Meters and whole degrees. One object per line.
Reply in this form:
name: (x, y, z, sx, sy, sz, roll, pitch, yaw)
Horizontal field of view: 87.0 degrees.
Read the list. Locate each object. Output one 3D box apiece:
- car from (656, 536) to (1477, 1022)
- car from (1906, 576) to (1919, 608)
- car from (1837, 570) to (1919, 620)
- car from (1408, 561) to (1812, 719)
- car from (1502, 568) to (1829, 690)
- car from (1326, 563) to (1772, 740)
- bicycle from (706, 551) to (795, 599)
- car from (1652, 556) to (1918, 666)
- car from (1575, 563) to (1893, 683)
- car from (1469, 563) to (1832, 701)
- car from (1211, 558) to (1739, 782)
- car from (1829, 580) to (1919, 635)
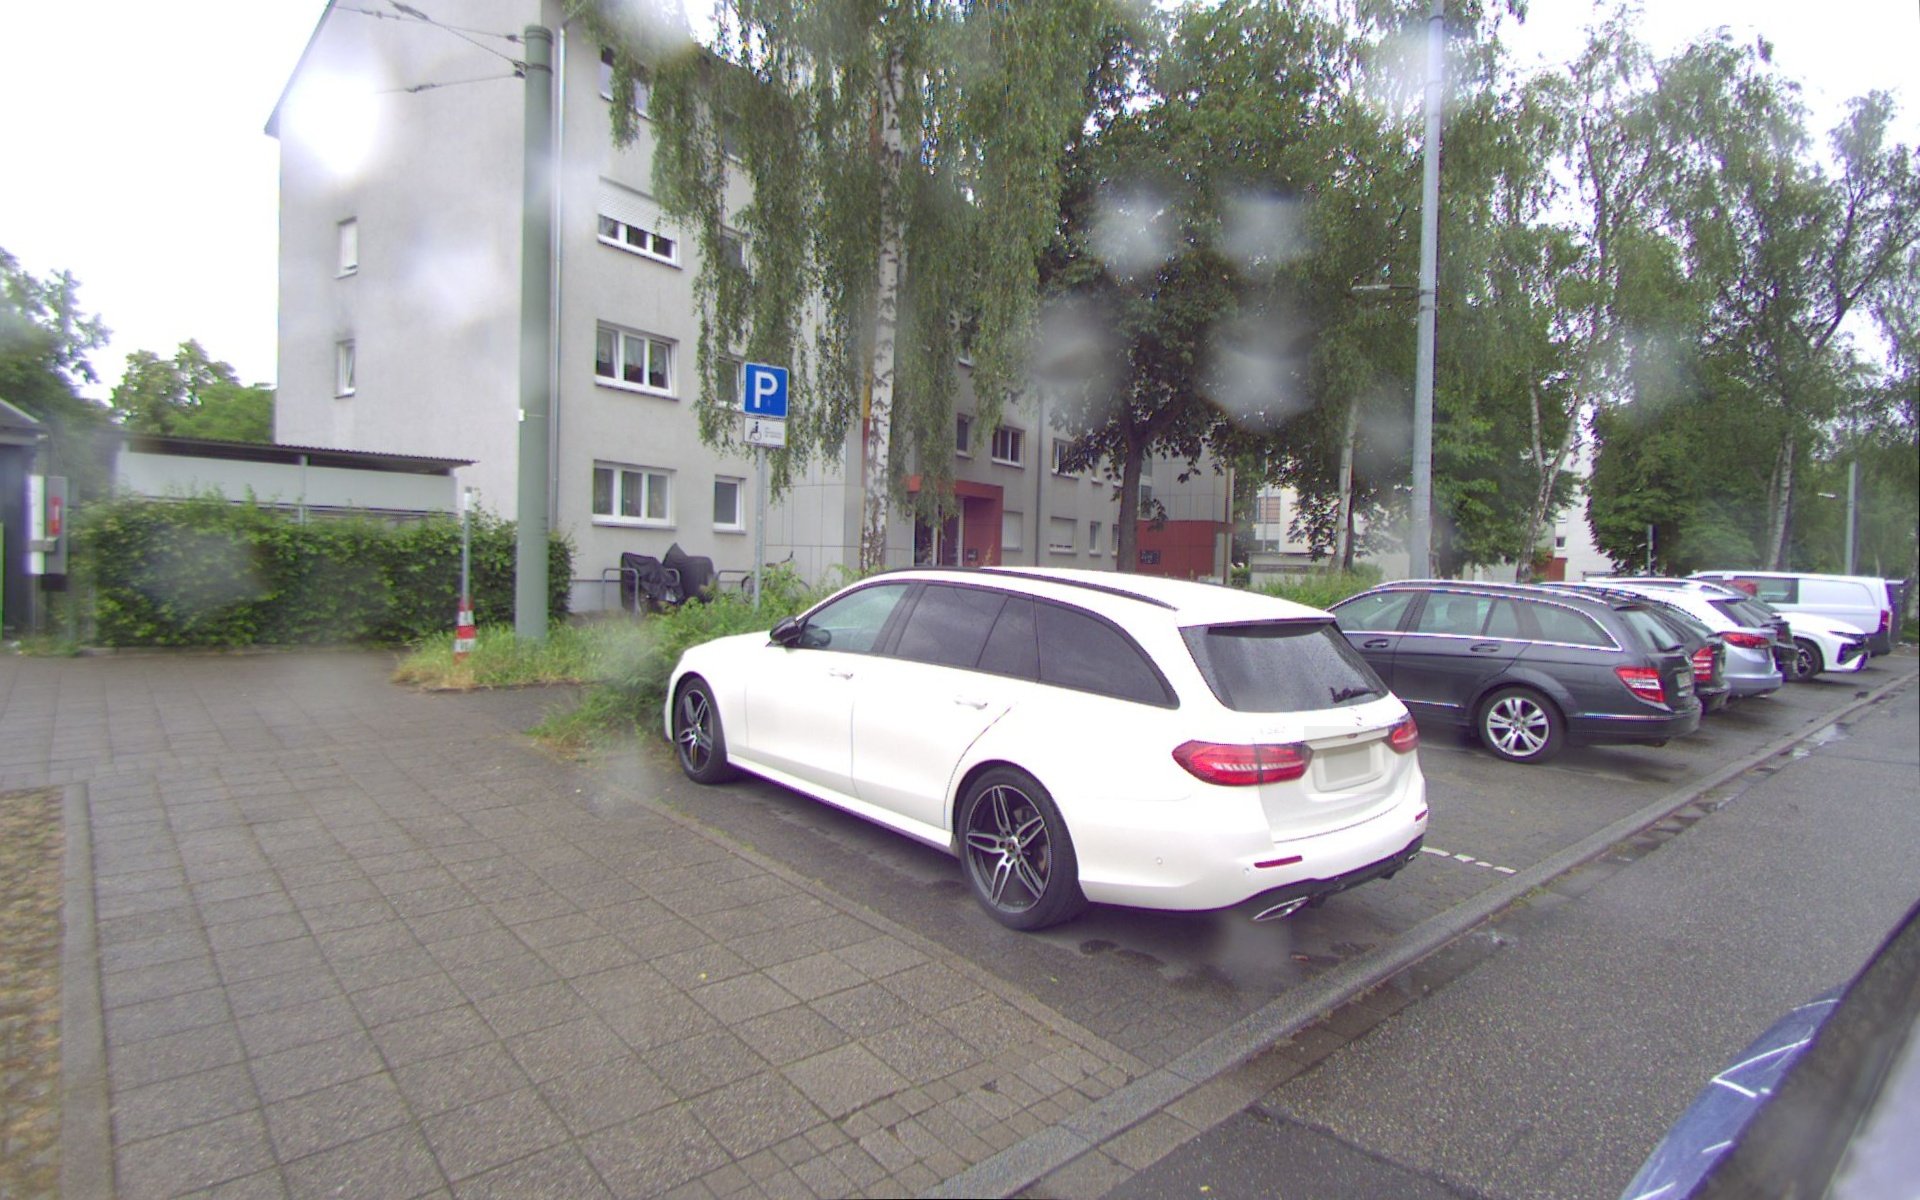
car: (0.082, 0.475, 5.602, 1.651, 1.456, 4.623, -1, 5, -40)
car: (53.220, -0.445, 53.812, 1.866, 1.701, 3.998, -1, 1, -36)
car: (37.800, -0.217, 40.336, 1.866, 1.937, 3.998, -1, 0, -36)
car: (8.190, 0.369, 13.036, 1.653, 1.514, 4.044, -1, 5, -43)
car: (11.275, 0.351, 16.389, 1.653, 1.514, 4.044, -1, 5, -43)
car: (6.512, 0.420, 11.536, 1.653, 1.456, 4.044, -1, 5, -43)
bicycle: (-4.523, -0.528, 21.973, 0.701, 1.005, 1.918, 0, 0, 37)
car: (17.539, 0.134, 21.671, 4.172, 1.888, 1.654, 7, 6, 43)
car: (13.708, 0.297, 18.154, 1.651, 1.637, 4.181, 0, 5, -40)
car: (9.864, 0.340, 14.704, 1.653, 1.514, 4.044, -1, 5, -43)
car: (4.591, 0.445, 9.497, 1.653, 1.456, 4.044, -1, 5, -43)
car: (34.473, 0.247, 36.842, 1.866, 1.937, 3.998, -1, 0, -36)
